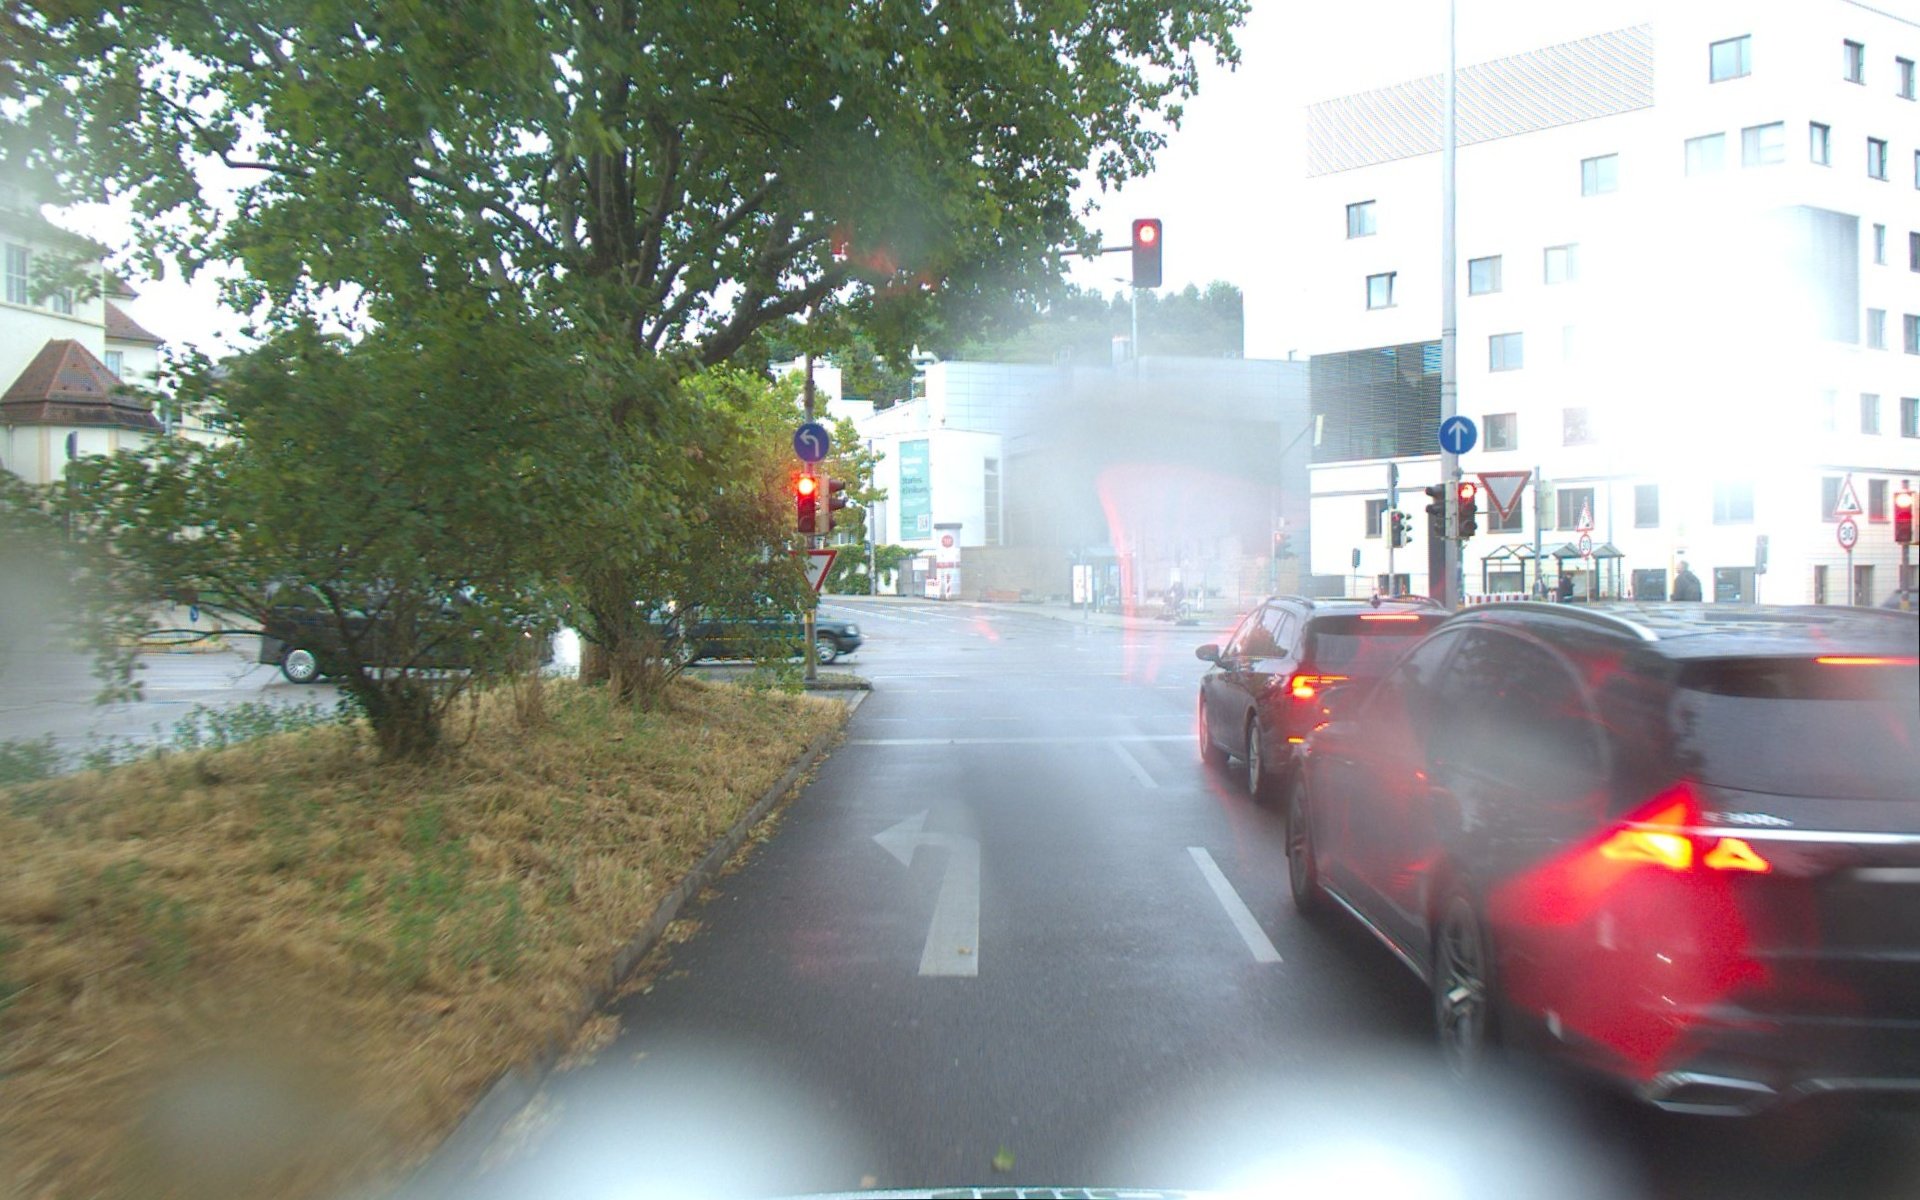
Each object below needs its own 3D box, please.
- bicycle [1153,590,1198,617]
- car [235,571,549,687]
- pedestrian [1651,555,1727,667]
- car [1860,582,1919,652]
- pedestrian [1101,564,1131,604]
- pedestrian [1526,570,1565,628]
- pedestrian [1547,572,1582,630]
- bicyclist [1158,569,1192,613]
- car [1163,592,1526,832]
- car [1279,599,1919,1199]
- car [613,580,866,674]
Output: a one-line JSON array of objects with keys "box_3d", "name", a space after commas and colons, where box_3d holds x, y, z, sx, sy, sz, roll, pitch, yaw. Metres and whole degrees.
[{"box_3d": [8.387, 0.139, 64.315, 1.800, 1.075, 0.640, 0, -1, -35], "name": "bicycle"}, {"box_3d": [-9.710, 0.478, 28.542, 4.672, 1.840, 2.001, -1, 0, 2], "name": "car"}, {"box_3d": [12.789, 0.196, 29.043, 0.812, 1.925, 1.025, 1, -1, -8], "name": "pedestrian"}, {"box_3d": [21.596, 0.383, 35.332, 3.917, 1.446, 1.862, 1, -1, -12], "name": "car"}, {"box_3d": [7.054, -0.713, 74.805, 1.231, 1.749, 1.016, 1, -1, -1], "name": "pedestrian"}, {"box_3d": [19.453, -0.025, 54.962, 0.934, 1.872, 0.822, 1, -1, -10], "name": "pedestrian"}, {"box_3d": [20.860, 0.030, 57.043, 0.980, 1.969, 0.955, 0, -1, 11], "name": "pedestrian"}, {"box_3d": [8.356, -0.348, 64.287, 1.115, 1.661, 0.694, 1, -1, -34], "name": "bicyclist"}, {"box_3d": [2.796, 0.718, 13.071, 1.636, 1.491, 4.510, 0, 1, -3], "name": "car"}, {"box_3d": [2.465, 0.757, 5.941, 1.840, 1.471, 4.932, 1, 0, 2], "name": "car"}, {"box_3d": [-4.383, 0.524, 33.262, 4.860, 1.702, 1.997, -1, 0, -7], "name": "car"}]
